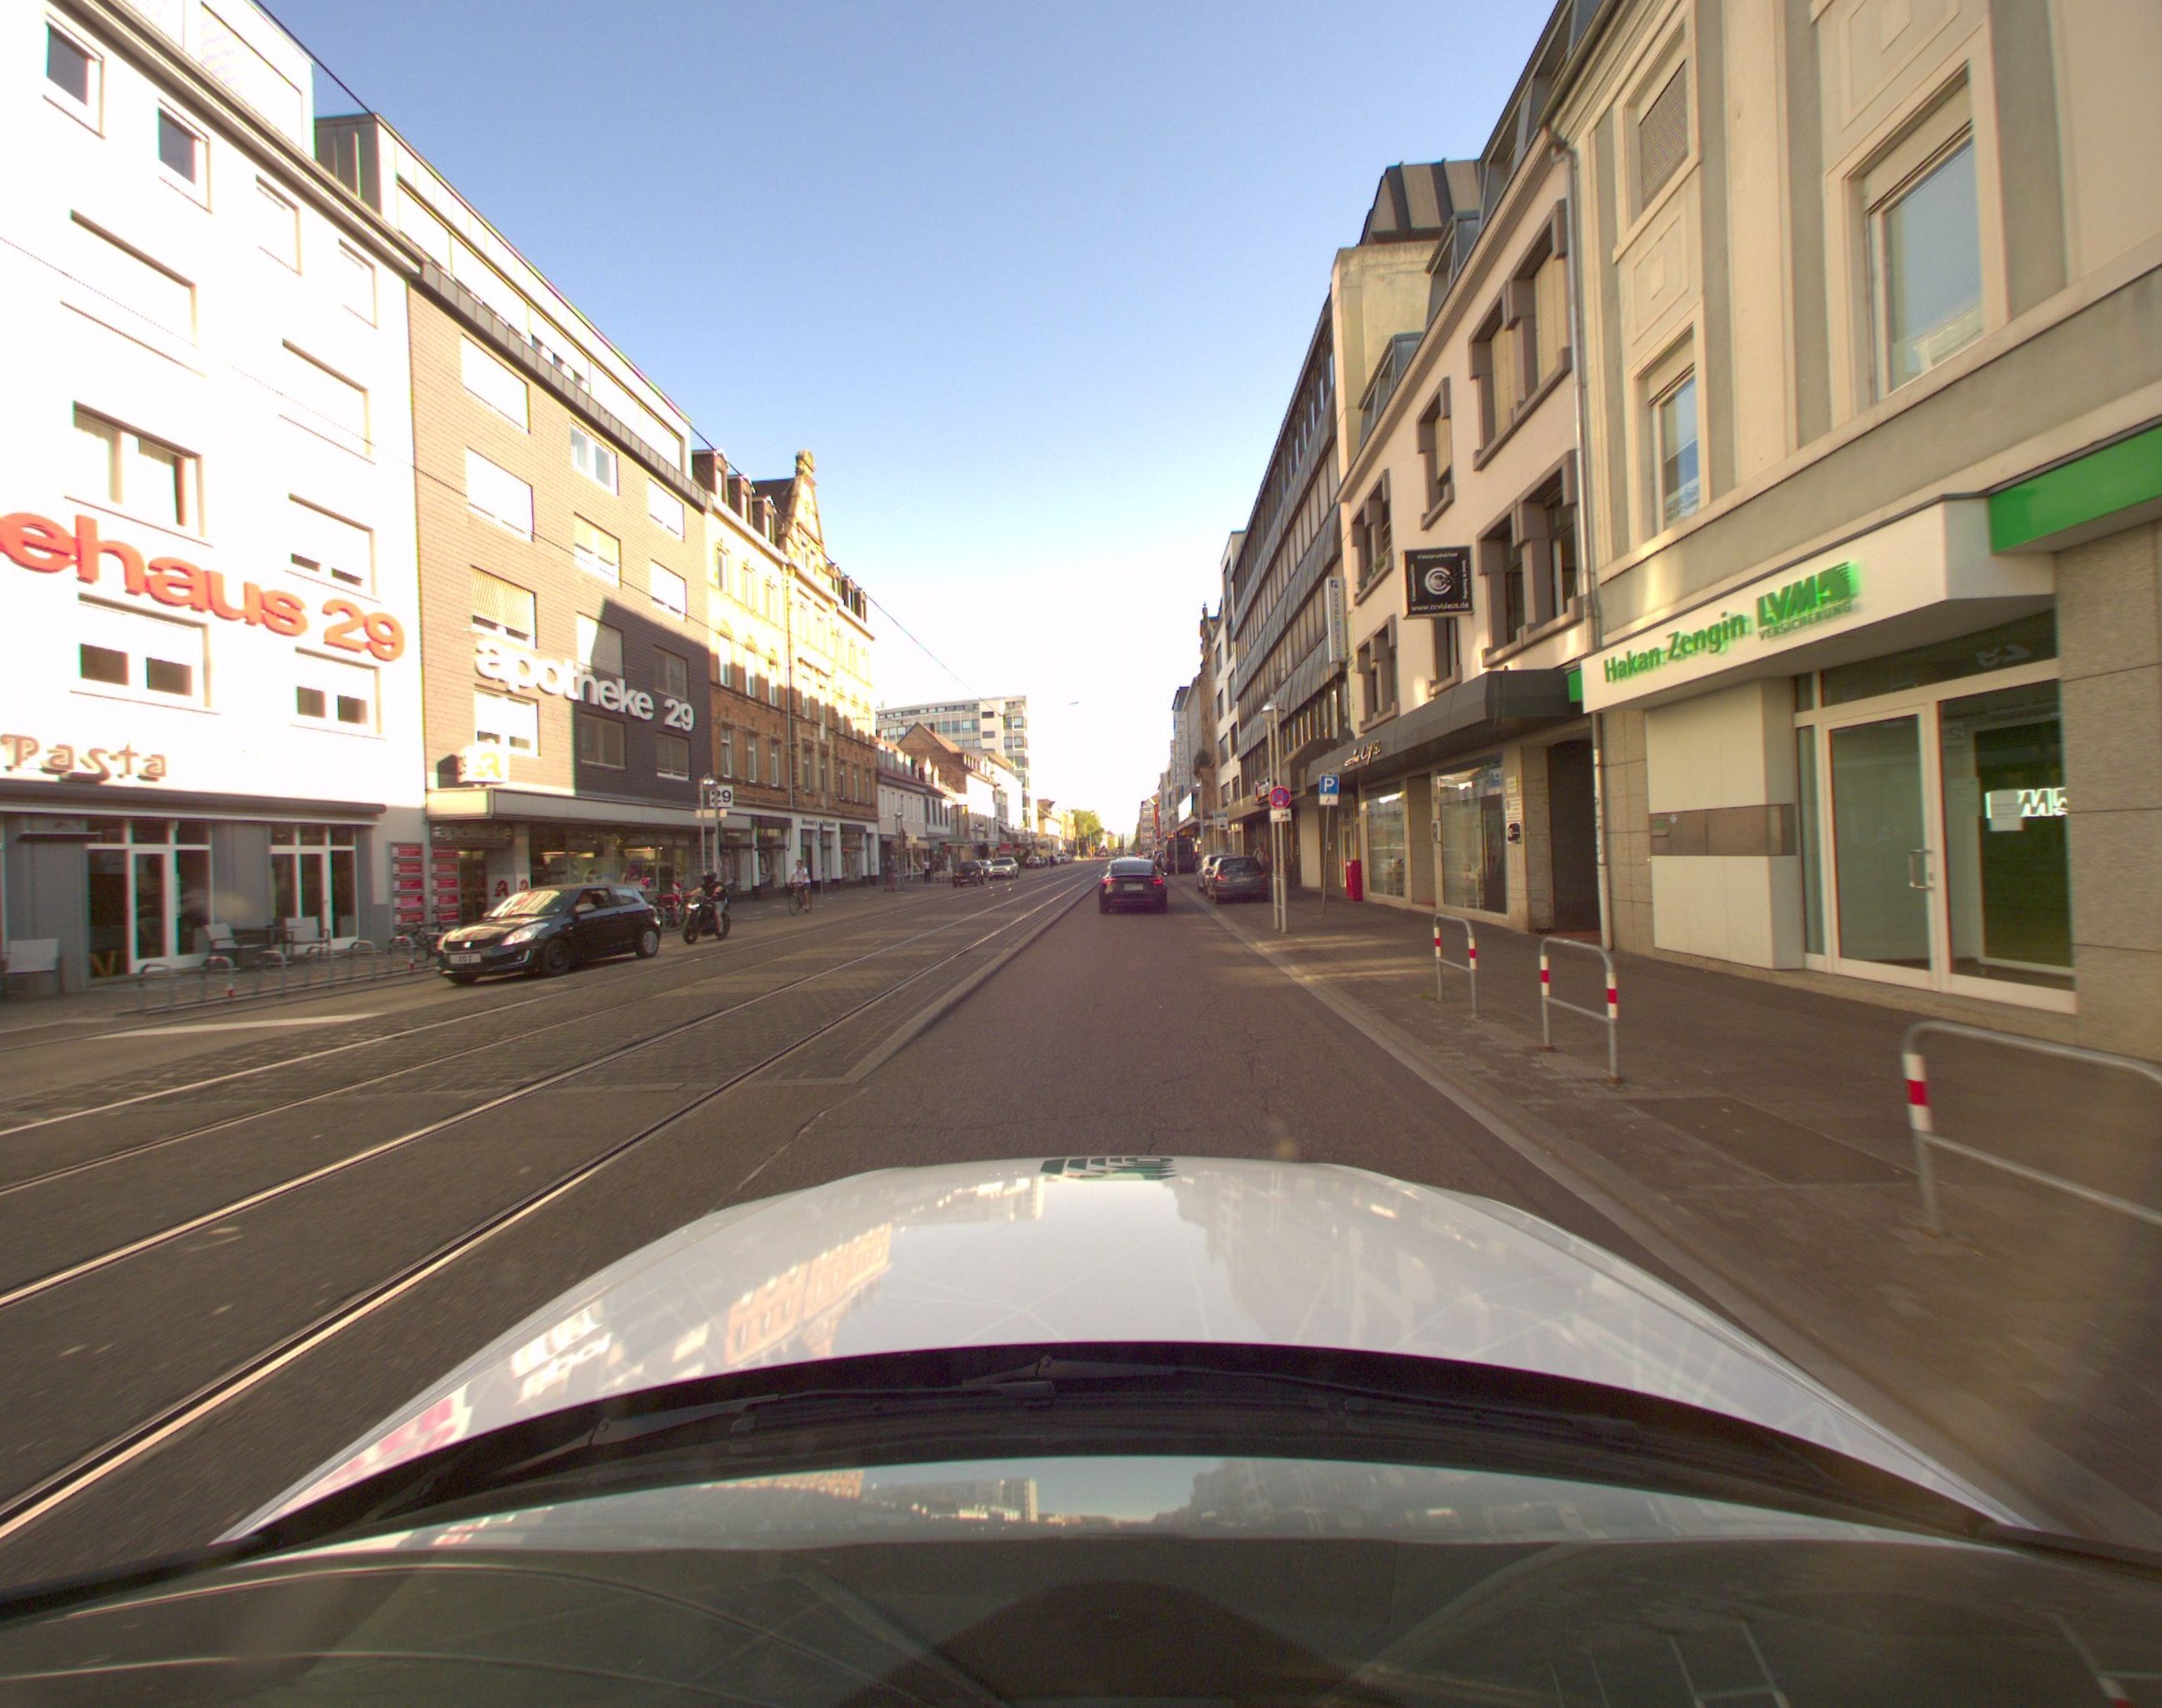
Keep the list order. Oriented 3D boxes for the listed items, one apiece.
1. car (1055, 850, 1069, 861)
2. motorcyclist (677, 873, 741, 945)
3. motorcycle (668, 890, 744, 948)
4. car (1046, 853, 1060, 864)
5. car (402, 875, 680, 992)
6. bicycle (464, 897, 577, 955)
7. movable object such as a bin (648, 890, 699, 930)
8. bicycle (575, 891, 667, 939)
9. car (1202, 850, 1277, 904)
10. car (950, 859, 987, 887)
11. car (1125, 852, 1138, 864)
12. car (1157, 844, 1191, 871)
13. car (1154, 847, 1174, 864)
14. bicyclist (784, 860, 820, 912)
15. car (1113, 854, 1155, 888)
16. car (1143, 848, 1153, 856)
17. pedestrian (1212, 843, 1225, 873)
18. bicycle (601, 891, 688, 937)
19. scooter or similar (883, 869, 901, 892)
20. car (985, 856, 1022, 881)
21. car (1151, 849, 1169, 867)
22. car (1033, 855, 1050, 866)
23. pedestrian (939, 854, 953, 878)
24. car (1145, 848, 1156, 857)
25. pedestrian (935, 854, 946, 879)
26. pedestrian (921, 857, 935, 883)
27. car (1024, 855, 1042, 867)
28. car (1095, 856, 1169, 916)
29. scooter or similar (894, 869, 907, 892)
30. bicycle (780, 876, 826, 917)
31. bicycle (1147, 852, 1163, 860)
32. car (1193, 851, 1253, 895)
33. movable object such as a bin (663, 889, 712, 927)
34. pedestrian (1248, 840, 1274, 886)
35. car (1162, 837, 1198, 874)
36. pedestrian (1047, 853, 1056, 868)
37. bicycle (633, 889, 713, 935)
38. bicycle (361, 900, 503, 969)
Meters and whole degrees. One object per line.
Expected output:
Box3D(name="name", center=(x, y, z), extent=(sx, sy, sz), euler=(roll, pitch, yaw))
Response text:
Box3D(name="car", center=(-3.494, 0.283, 151.800), extent=(2.000, 1.961, 4.729), euler=(-3, 0, 3))
Box3D(name="motorcyclist", center=(-8.579, 1.247, 18.817), extent=(0.799, 1.558, 1.147), euler=(-3, 0, 4))
Box3D(name="motorcycle", center=(-8.524, 1.455, 18.637), extent=(0.567, 1.119, 2.119), euler=(-3, 0, 4))
Box3D(name="car", center=(-4.581, 0.706, 132.483), extent=(1.709, 1.571, 3.855), euler=(-3, 0, 6))
Box3D(name="car", center=(-8.946, 1.216, 14.013), extent=(1.705, 1.446, 4.143), euler=(-5, 0, 4))
Box3D(name="bicycle", center=(-12.391, 1.584, 18.049), extent=(1.929, 1.172, 0.773), euler=(-1, 0, -2))
Box3D(name="movable object such as a bin", center=(-11.859, 1.627, 23.730), extent=(1.094, 1.072, 0.736), euler=(-1, 0, 3))
Box3D(name="bicycle", center=(-12.131, 1.602, 21.521), extent=(1.929, 1.152, 0.773), euler=(-2, 0, -2))
Box3D(name="car", center=(4.966, 0.674, 26.031), extent=(1.839, 1.462, 4.309), euler=(-3, 0, 5))
Box3D(name="car", center=(-6.771, 1.144, 49.230), extent=(1.641, 1.566, 2.833), euler=(-2, 0, 4))
Box3D(name="car", center=(8.257, 0.614, 132.825), extent=(2.076, 1.870, 3.758), euler=(-2, 0, 4))
Box3D(name="car", center=(7.500, 0.243, 66.364), extent=(2.151, 1.926, 4.618), euler=(-6, 0, 1))
Box3D(name="car", center=(8.162, 0.137, 80.237), extent=(1.744, 1.499, 3.758), euler=(-3, 0, 4))
Box3D(name="bicyclist", center=(-9.754, 1.107, 28.499), extent=(0.747, 1.729, 1.147), euler=(-2, 0, 4))
Box3D(name="car", center=(2.458, 0.760, 37.510), extent=(1.754, 1.418, 4.358), euler=(-2, -1, 4))
Box3D(name="car", center=(14.366, -0.406, 175.667), extent=(1.985, 1.753, 4.004), euler=(-2, -1, 3))
Box3D(name="pedestrian", center=(8.247, 0.231, 48.985), extent=(0.554, 1.714, 0.955), euler=(-4, 0, 2))
Box3D(name="bicycle", center=(-11.968, 1.640, 22.378), extent=(1.929, 1.111, 0.773), euler=(-3, 0, -2))
Box3D(name="scooter or similar", center=(-10.496, 1.469, 45.269), extent=(0.577, 1.202, 1.477), euler=(-1, 0, 1))
Box3D(name="car", center=(-5.699, 1.041, 60.435), extent=(1.881, 1.594, 4.268), euler=(-4, 0, 4))
Box3D(name="car", center=(8.376, 0.398, 86.381), extent=(1.813, 1.870, 3.758), euler=(-2, 0, 4))
Box3D(name="car", center=(-5.567, 0.904, 115.261), extent=(1.760, 1.508, 3.868), euler=(-3, 0, 7))
Box3D(name="pedestrian", center=(-10.304, 0.922, 62.056), extent=(0.882, 1.775, 0.688), euler=(-2, 0, 2))
Box3D(name="car", center=(12.555, -0.201, 147.196), extent=(1.985, 1.543, 4.004), euler=(-2, -1, 3))
Box3D(name="pedestrian", center=(-10.591, 0.957, 61.332), extent=(0.654, 1.823, 0.642), euler=(-2, 0, -2))
Box3D(name="pedestrian", center=(-10.637, 1.133, 56.512), extent=(0.608, 1.775, 0.722), euler=(-2, 0, 17))
Box3D(name="car", center=(-6.376, 0.895, 108.967), extent=(1.761, 1.508, 3.869), euler=(-3, 0, 5))
Box3D(name="car", center=(1.478, 0.831, 23.208), extent=(1.861, 1.427, 4.369), euler=(-2, 0, 4))
Box3D(name="scooter or similar", center=(-10.012, 1.458, 45.248), extent=(0.363, 1.202, 1.477), euler=(0, 0, 1))
Box3D(name="bicycle", center=(-9.734, 1.478, 28.625), extent=(0.747, 1.293, 2.027), euler=(-2, 0, 4))
Box3D(name="bicycle", center=(10.739, 0.289, 118.404), extent=(2.151, 1.097, 0.686), euler=(-3, 0, 1))
Box3D(name="car", center=(5.321, 0.655, 31.031), extent=(1.737, 1.462, 4.300), euler=(-3, 0, 4))
Box3D(name="movable object such as a bin", center=(-11.799, 1.624, 24.454), extent=(1.094, 1.063, 0.699), euler=(-1, 0, 3))
Box3D(name="pedestrian", center=(7.126, 0.359, 32.264), extent=(0.776, 1.752, 1.033), euler=(-3, 0, 4))
Box3D(name="car", center=(7.210, 0.092, 59.822), extent=(2.162, 2.461, 5.366), euler=(-4, 0, 3))
Box3D(name="pedestrian", center=(-3.766, 0.856, 103.794), extent=(0.764, 1.849, 0.833), euler=(-3, 0, 32))
Box3D(name="bicycle", center=(-11.572, 1.642, 23.115), extent=(1.928, 1.190, 0.551), euler=(-3, 0, -1))
Box3D(name="bicycle", center=(-12.673, 1.566, 15.942), extent=(2.097, 1.223, 0.773), euler=(-1, 0, -2))
